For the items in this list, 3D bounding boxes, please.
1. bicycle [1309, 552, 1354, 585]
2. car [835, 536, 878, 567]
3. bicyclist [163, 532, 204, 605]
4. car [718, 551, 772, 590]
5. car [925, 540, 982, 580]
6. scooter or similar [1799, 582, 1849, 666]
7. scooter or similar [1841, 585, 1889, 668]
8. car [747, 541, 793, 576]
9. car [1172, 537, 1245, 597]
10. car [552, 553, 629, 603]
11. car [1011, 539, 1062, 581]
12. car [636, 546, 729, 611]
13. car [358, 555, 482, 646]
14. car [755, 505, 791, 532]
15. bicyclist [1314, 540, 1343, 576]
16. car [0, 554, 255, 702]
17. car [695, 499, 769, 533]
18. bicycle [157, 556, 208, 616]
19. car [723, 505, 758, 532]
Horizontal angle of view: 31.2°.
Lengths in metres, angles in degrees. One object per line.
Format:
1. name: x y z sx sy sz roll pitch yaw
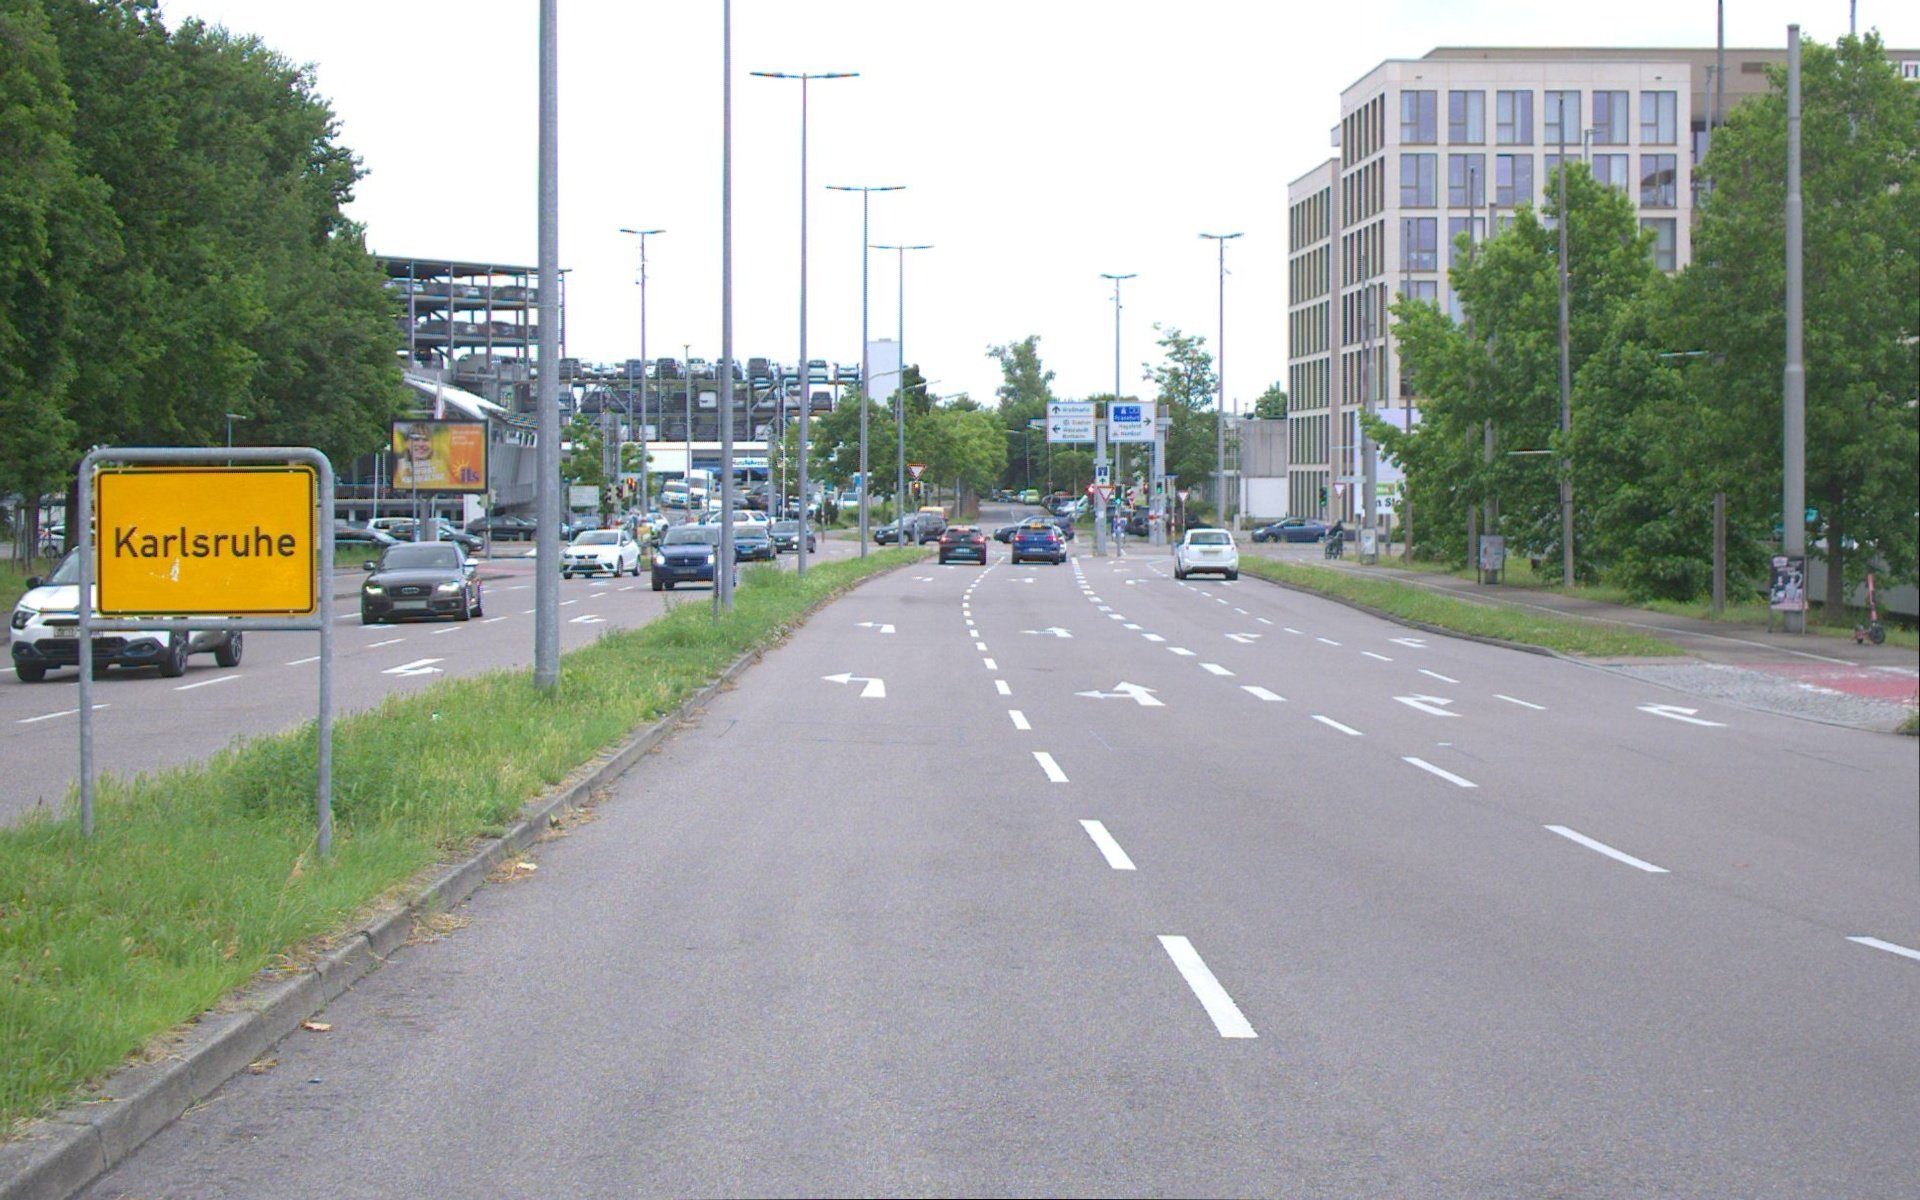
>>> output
1. bicycle: 15.514 -1.314 143.497 0.700 1.291 2.011 0 2 -35
2. car: -5.052 -2.361 167.938 1.930 1.451 4.183 1 1 -4
3. bicyclist: -17.021 -0.697 75.405 0.640 1.572 1.000 2 1 -1
4. car: -8.423 -1.169 134.990 1.772 1.447 4.405 -1 1 0
5. car: -0.257 -1.441 126.150 1.987 1.423 4.241 1 0 -1
6. scooter or similar: 14.978 0.406 59.622 0.650 1.416 1.818 0 0 9
7. scooter or similar: 13.433 0.386 51.054 0.370 1.187 1.248 0 2 0
8. car: -8.413 -1.863 152.713 1.780 1.450 4.182 -1 1 0
9. car: 7.419 -1.016 102.983 1.993 1.746 4.180 1 1 2
10. car: -11.174 -0.673 104.065 1.866 1.449 4.168 -1 1 0
11. car: 2.895 -1.503 130.287 1.835 1.509 4.000 1 0 0
12. car: -6.624 -0.536 82.442 1.931 1.481 4.440 -1 1 -1
13. car: -9.570 -0.021 61.183 1.882 1.431 4.433 -2 2 -6
14. car: -12.585 -5.483 231.491 1.776 1.700 3.916 1 3 6
15. bicyclist: 15.382 -1.746 143.665 0.700 1.498 1.000 0 2 -35
16. car: -9.410 0.283 38.875 1.931 1.514 4.182 -2 0 0
17. car: -12.414 -4.567 187.144 3.986 1.784 1.848 0 3 -3
18. bicycle: -17.051 -0.313 75.394 0.642 1.246 2.056 2 1 -1
19. car: -14.775 -5.500 231.499 1.776 1.700 3.916 1 3 6
